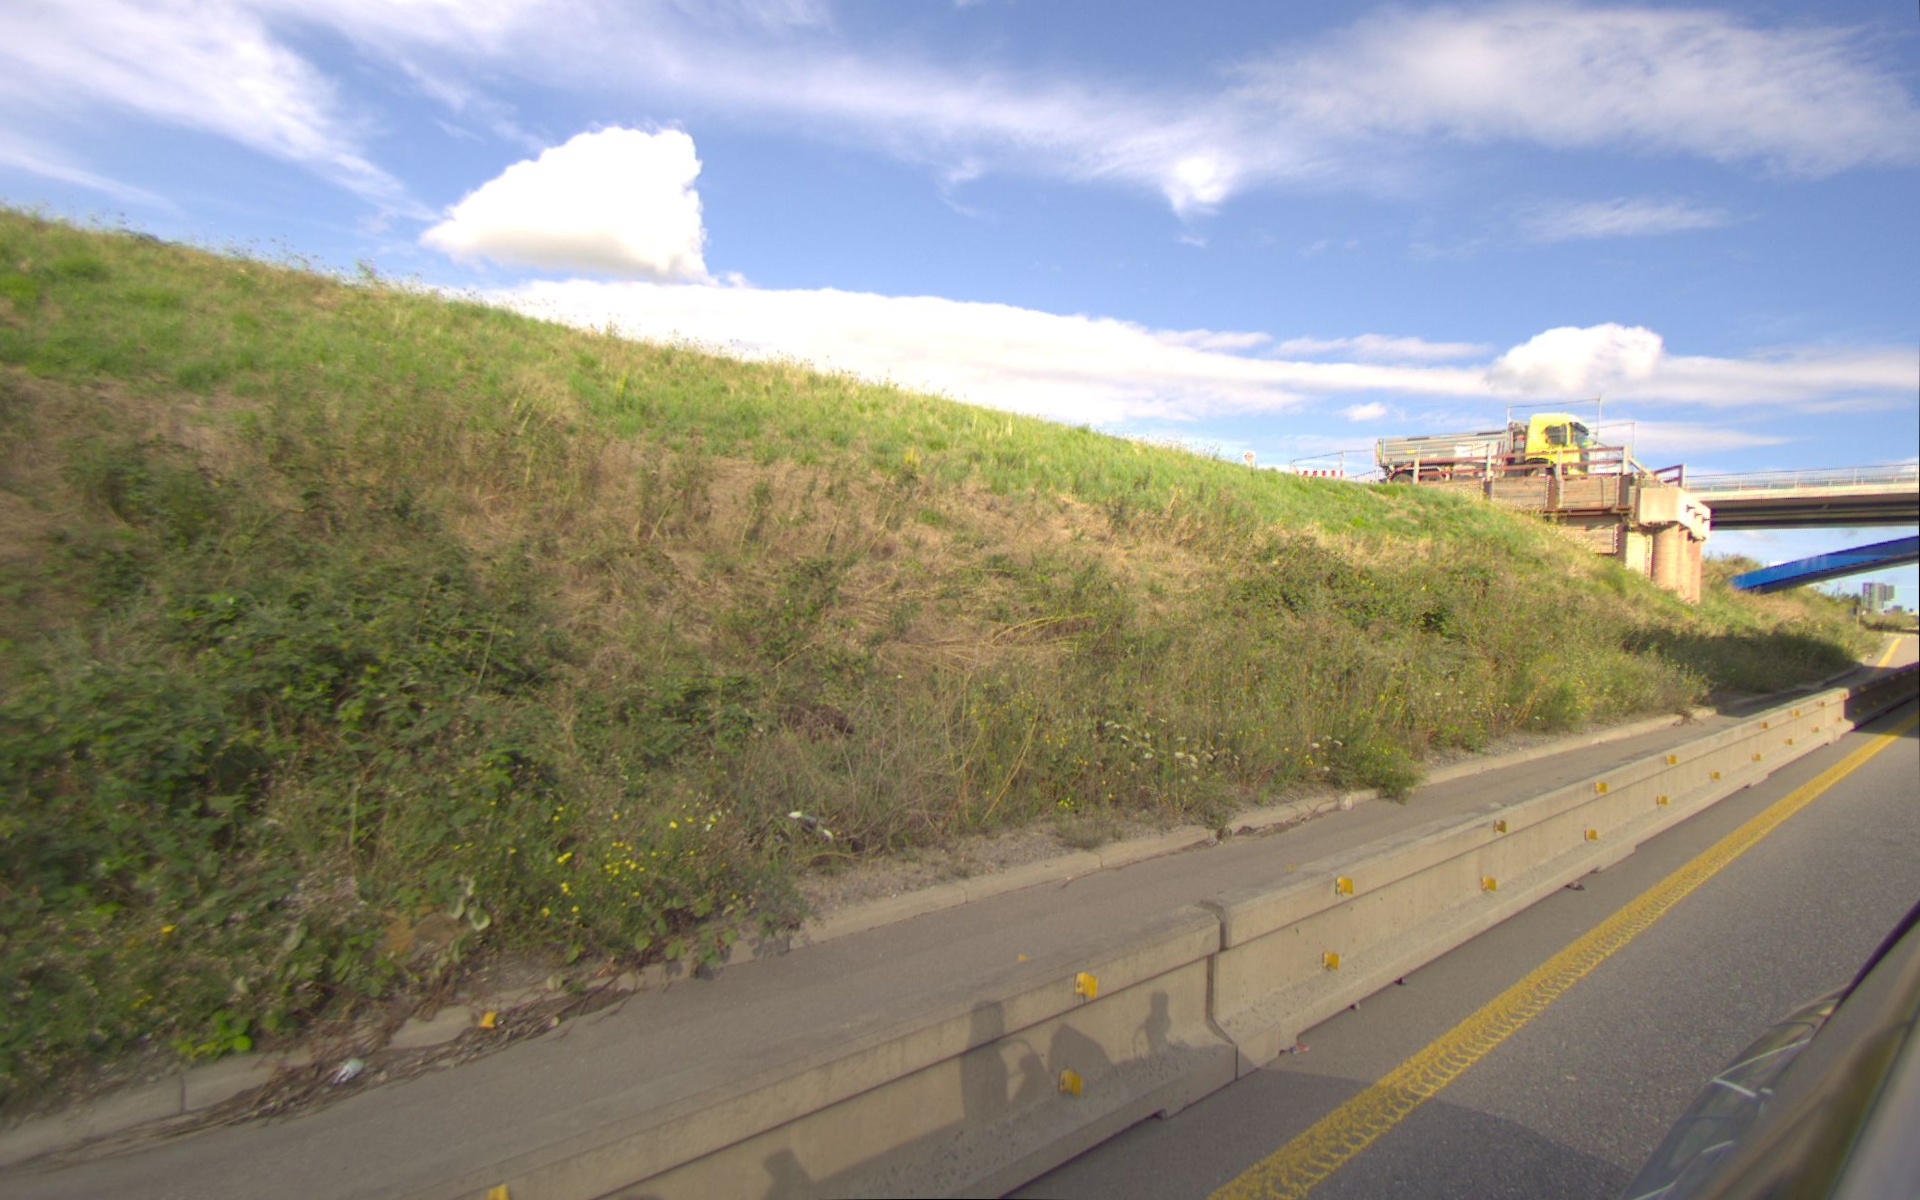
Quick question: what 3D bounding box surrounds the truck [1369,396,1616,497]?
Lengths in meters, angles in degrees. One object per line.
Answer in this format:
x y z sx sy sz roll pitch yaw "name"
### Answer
23.318 -6.594 44.885 2.910 3.268 9.271 1 0 -44 "truck"
